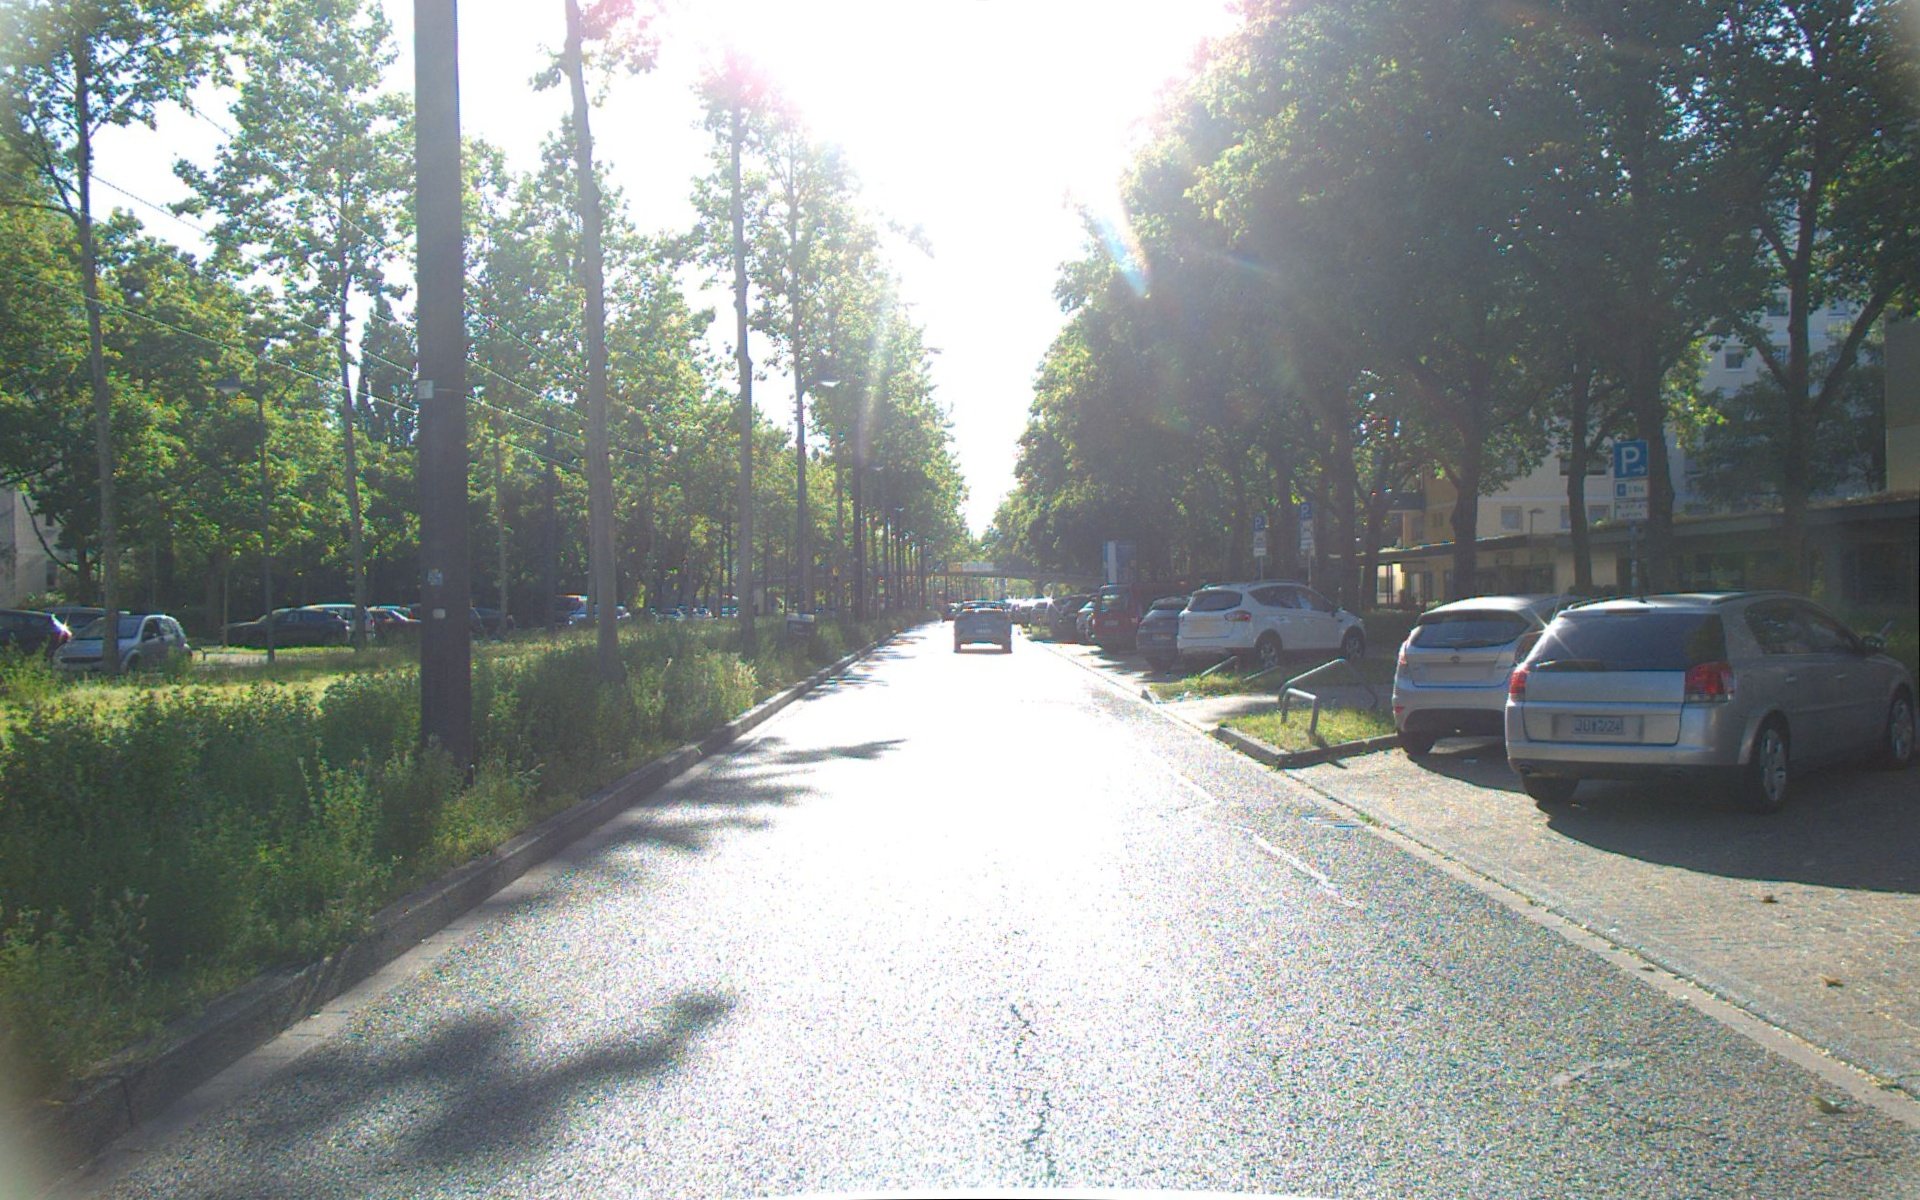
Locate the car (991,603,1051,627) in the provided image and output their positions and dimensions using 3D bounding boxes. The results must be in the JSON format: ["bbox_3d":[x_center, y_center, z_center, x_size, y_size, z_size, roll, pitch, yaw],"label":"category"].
[{"bbox_3d":[4.571,1.121,123.960,4.587,1.710,1.827,0,-1,-43],"label":"car"}]

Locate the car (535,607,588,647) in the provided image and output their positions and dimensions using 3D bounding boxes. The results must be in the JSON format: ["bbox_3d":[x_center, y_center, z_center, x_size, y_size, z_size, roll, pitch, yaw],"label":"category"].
[{"bbox_3d":[-22.626,1.500,94.050,1.611,2.130,4.915,2,0,2],"label":"car"}]

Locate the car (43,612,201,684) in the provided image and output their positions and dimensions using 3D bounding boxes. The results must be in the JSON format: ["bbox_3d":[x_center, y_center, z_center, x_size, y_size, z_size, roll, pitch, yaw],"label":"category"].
[{"bbox_3d":[-18.821,1.045,37.329,1.612,1.511,3.849,-1,-1,-1],"label":"car"}]

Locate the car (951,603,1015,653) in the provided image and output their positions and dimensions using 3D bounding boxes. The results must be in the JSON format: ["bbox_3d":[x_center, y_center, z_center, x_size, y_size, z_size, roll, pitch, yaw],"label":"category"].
[{"bbox_3d":[0.669,0.823,50.649,1.883,1.436,4.000,0,0,0],"label":"car"}]

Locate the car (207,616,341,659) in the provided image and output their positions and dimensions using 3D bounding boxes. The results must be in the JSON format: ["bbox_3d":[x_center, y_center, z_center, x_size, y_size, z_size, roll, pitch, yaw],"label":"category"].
[{"bbox_3d":[-24.379,1.316,58.864,4.099,1.361,1.767,-1,1,-43],"label":"car"}]

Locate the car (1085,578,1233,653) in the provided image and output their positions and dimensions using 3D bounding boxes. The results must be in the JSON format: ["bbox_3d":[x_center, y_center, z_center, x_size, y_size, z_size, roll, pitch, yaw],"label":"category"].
[{"bbox_3d":[5.418,0.403,44.781,4.048,1.842,1.627,-2,0,-41],"label":"car"}]

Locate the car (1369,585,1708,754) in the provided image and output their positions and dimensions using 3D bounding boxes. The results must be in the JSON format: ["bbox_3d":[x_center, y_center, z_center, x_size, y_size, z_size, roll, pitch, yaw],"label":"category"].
[{"bbox_3d":[5.806,0.611,16.358,3.909,1.397,1.562,-2,0,-44],"label":"car"}]

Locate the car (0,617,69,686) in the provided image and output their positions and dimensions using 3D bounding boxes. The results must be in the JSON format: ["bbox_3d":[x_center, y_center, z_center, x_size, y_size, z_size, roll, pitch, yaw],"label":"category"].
[{"bbox_3d":[-23.774,1.264,39.699,4.037,1.557,1.796,-1,1,-35],"label":"car"}]

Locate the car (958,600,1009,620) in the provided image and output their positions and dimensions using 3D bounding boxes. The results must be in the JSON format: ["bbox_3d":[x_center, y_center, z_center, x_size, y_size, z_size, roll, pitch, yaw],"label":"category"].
[{"bbox_3d":[2.125,0.904,147.767,4.587,1.800,1.827,0,-1,-43],"label":"car"}]

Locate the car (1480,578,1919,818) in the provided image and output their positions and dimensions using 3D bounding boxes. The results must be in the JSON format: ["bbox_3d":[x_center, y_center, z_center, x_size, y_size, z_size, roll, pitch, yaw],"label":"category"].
[{"bbox_3d":[5.740,0.620,12.465,4.153,1.437,1.692,-2,0,-44],"label":"car"}]

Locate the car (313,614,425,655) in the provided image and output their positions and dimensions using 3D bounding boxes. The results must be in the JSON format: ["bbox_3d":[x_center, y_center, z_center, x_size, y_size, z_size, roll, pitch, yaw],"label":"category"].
[{"bbox_3d":[-23.813,1.374,66.716,3.890,1.513,1.767,-1,0,-43],"label":"car"}]

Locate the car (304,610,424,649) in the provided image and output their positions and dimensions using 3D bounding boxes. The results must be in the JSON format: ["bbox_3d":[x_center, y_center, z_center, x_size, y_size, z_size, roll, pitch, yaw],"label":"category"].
[{"bbox_3d":[-24.842,1.227,68.981,4.438,1.507,1.596,-1,0,-37],"label":"car"}]

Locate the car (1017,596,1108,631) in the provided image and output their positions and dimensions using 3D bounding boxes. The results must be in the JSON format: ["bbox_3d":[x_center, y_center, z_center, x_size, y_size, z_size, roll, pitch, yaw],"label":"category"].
[{"bbox_3d":[4.960,0.633,79.362,4.460,1.469,1.826,-2,0,-44],"label":"car"}]

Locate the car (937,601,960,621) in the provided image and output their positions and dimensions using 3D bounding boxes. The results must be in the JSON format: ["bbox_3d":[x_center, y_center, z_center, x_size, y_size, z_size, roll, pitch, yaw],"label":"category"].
[{"bbox_3d":[-0.931,0.915,137.516,1.811,1.562,3.866,-1,0,0],"label":"car"}]

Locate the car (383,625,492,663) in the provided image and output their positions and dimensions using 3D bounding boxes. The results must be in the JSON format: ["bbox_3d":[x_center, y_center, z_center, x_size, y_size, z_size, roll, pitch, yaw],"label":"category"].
[{"bbox_3d":[-23.992,2.018,76.020,4.451,1.596,1.767,-1,0,-43],"label":"car"}]

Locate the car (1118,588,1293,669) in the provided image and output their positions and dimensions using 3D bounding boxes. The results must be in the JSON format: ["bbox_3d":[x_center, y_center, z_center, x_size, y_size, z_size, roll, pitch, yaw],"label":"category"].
[{"bbox_3d":[5.109,0.563,34.187,3.759,1.496,1.624,-2,0,-44],"label":"car"}]

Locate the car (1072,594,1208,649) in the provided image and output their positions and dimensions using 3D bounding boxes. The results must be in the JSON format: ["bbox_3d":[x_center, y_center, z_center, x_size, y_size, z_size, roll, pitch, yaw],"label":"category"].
[{"bbox_3d":[5.469,0.640,50.052,4.041,1.507,1.630,-2,0,-37],"label":"car"}]

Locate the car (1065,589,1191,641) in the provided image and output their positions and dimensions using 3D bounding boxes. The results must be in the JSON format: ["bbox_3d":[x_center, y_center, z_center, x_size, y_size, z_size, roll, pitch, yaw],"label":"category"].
[{"bbox_3d":[5.650,0.496,55.563,4.038,1.610,1.759,-2,0,-35],"label":"car"}]

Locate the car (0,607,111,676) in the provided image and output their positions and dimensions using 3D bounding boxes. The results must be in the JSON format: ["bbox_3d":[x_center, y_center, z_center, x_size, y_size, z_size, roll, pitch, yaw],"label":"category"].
[{"bbox_3d":[-24.315,1.060,42.706,4.040,1.635,1.970,-1,1,-36],"label":"car"}]

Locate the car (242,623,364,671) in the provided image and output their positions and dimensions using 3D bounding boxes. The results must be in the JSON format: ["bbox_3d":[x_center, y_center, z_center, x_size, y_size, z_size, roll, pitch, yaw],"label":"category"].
[{"bbox_3d":[-24.774,1.751,62.444,3.947,1.705,1.759,-1,0,-43],"label":"car"}]

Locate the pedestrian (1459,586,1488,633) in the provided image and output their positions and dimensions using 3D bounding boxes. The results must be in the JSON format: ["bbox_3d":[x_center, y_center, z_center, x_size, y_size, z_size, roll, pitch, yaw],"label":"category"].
[{"bbox_3d":[21.846,0.411,70.343,0.856,1.947,0.870,-1,0,-9],"label":"pedestrian"}]

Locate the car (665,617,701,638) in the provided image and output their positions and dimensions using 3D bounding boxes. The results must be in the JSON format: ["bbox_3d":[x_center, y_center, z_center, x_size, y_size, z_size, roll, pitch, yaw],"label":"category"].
[{"bbox_3d":[-21.322,2.129,127.465,1.952,1.478,4.001,2,0,1],"label":"car"}]

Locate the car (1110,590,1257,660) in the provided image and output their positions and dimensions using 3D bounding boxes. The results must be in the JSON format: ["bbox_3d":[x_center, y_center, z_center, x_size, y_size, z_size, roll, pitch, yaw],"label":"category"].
[{"bbox_3d":[5.281,0.566,38.788,1.622,1.473,3.604,-2,0,43],"label":"car"}]

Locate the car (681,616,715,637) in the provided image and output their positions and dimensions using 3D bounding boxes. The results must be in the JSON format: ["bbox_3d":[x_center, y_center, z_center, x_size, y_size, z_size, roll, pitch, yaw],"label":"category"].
[{"bbox_3d":[-21.455,2.134,135.463,1.952,1.617,4.168,2,0,1],"label":"car"}]

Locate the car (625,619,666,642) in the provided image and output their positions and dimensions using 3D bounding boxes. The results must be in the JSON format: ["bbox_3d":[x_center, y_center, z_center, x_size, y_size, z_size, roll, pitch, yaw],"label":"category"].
[{"bbox_3d":[-22.067,2.120,116.197,1.952,1.478,4.001,2,0,1],"label":"car"}]

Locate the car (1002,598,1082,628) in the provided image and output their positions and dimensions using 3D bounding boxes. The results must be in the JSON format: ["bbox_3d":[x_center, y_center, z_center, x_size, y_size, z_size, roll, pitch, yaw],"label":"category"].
[{"bbox_3d":[4.453,0.708,89.394,4.297,1.449,1.826,-2,0,-44],"label":"car"}]

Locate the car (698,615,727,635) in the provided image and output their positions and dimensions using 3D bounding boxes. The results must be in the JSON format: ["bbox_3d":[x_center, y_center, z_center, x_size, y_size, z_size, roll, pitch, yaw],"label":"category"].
[{"bbox_3d":[-21.168,2.130,141.543,1.750,1.617,4.168,2,0,1],"label":"car"}]

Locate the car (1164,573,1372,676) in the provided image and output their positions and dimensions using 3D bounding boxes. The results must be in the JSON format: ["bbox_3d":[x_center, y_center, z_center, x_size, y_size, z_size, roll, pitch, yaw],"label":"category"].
[{"bbox_3d":[5.822,0.433,31.050,3.993,1.735,1.734,-2,0,-42],"label":"car"}]

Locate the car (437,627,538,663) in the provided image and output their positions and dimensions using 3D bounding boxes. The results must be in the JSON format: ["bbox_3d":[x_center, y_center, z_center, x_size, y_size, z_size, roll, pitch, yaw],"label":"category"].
[{"bbox_3d":[-23.078,2.192,80.897,4.451,1.596,1.767,-1,0,-43],"label":"car"}]

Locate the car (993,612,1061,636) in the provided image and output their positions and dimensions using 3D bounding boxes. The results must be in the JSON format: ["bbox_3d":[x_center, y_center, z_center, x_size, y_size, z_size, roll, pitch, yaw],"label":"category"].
[{"bbox_3d":[4.392,1.573,108.235,1.945,1.484,4.594,-2,-1,43],"label":"car"}]

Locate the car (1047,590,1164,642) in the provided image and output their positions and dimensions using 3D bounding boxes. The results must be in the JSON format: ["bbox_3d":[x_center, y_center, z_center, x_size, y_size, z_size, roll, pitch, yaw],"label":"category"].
[{"bbox_3d":[5.215,0.552,58.953,4.279,1.747,1.613,-1,0,-40],"label":"car"}]

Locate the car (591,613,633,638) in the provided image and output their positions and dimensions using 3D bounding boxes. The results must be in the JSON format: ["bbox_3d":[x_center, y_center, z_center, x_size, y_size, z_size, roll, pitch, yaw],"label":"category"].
[{"bbox_3d":[-22.187,1.618,105.591,1.833,1.478,3.575,2,0,1],"label":"car"}]
